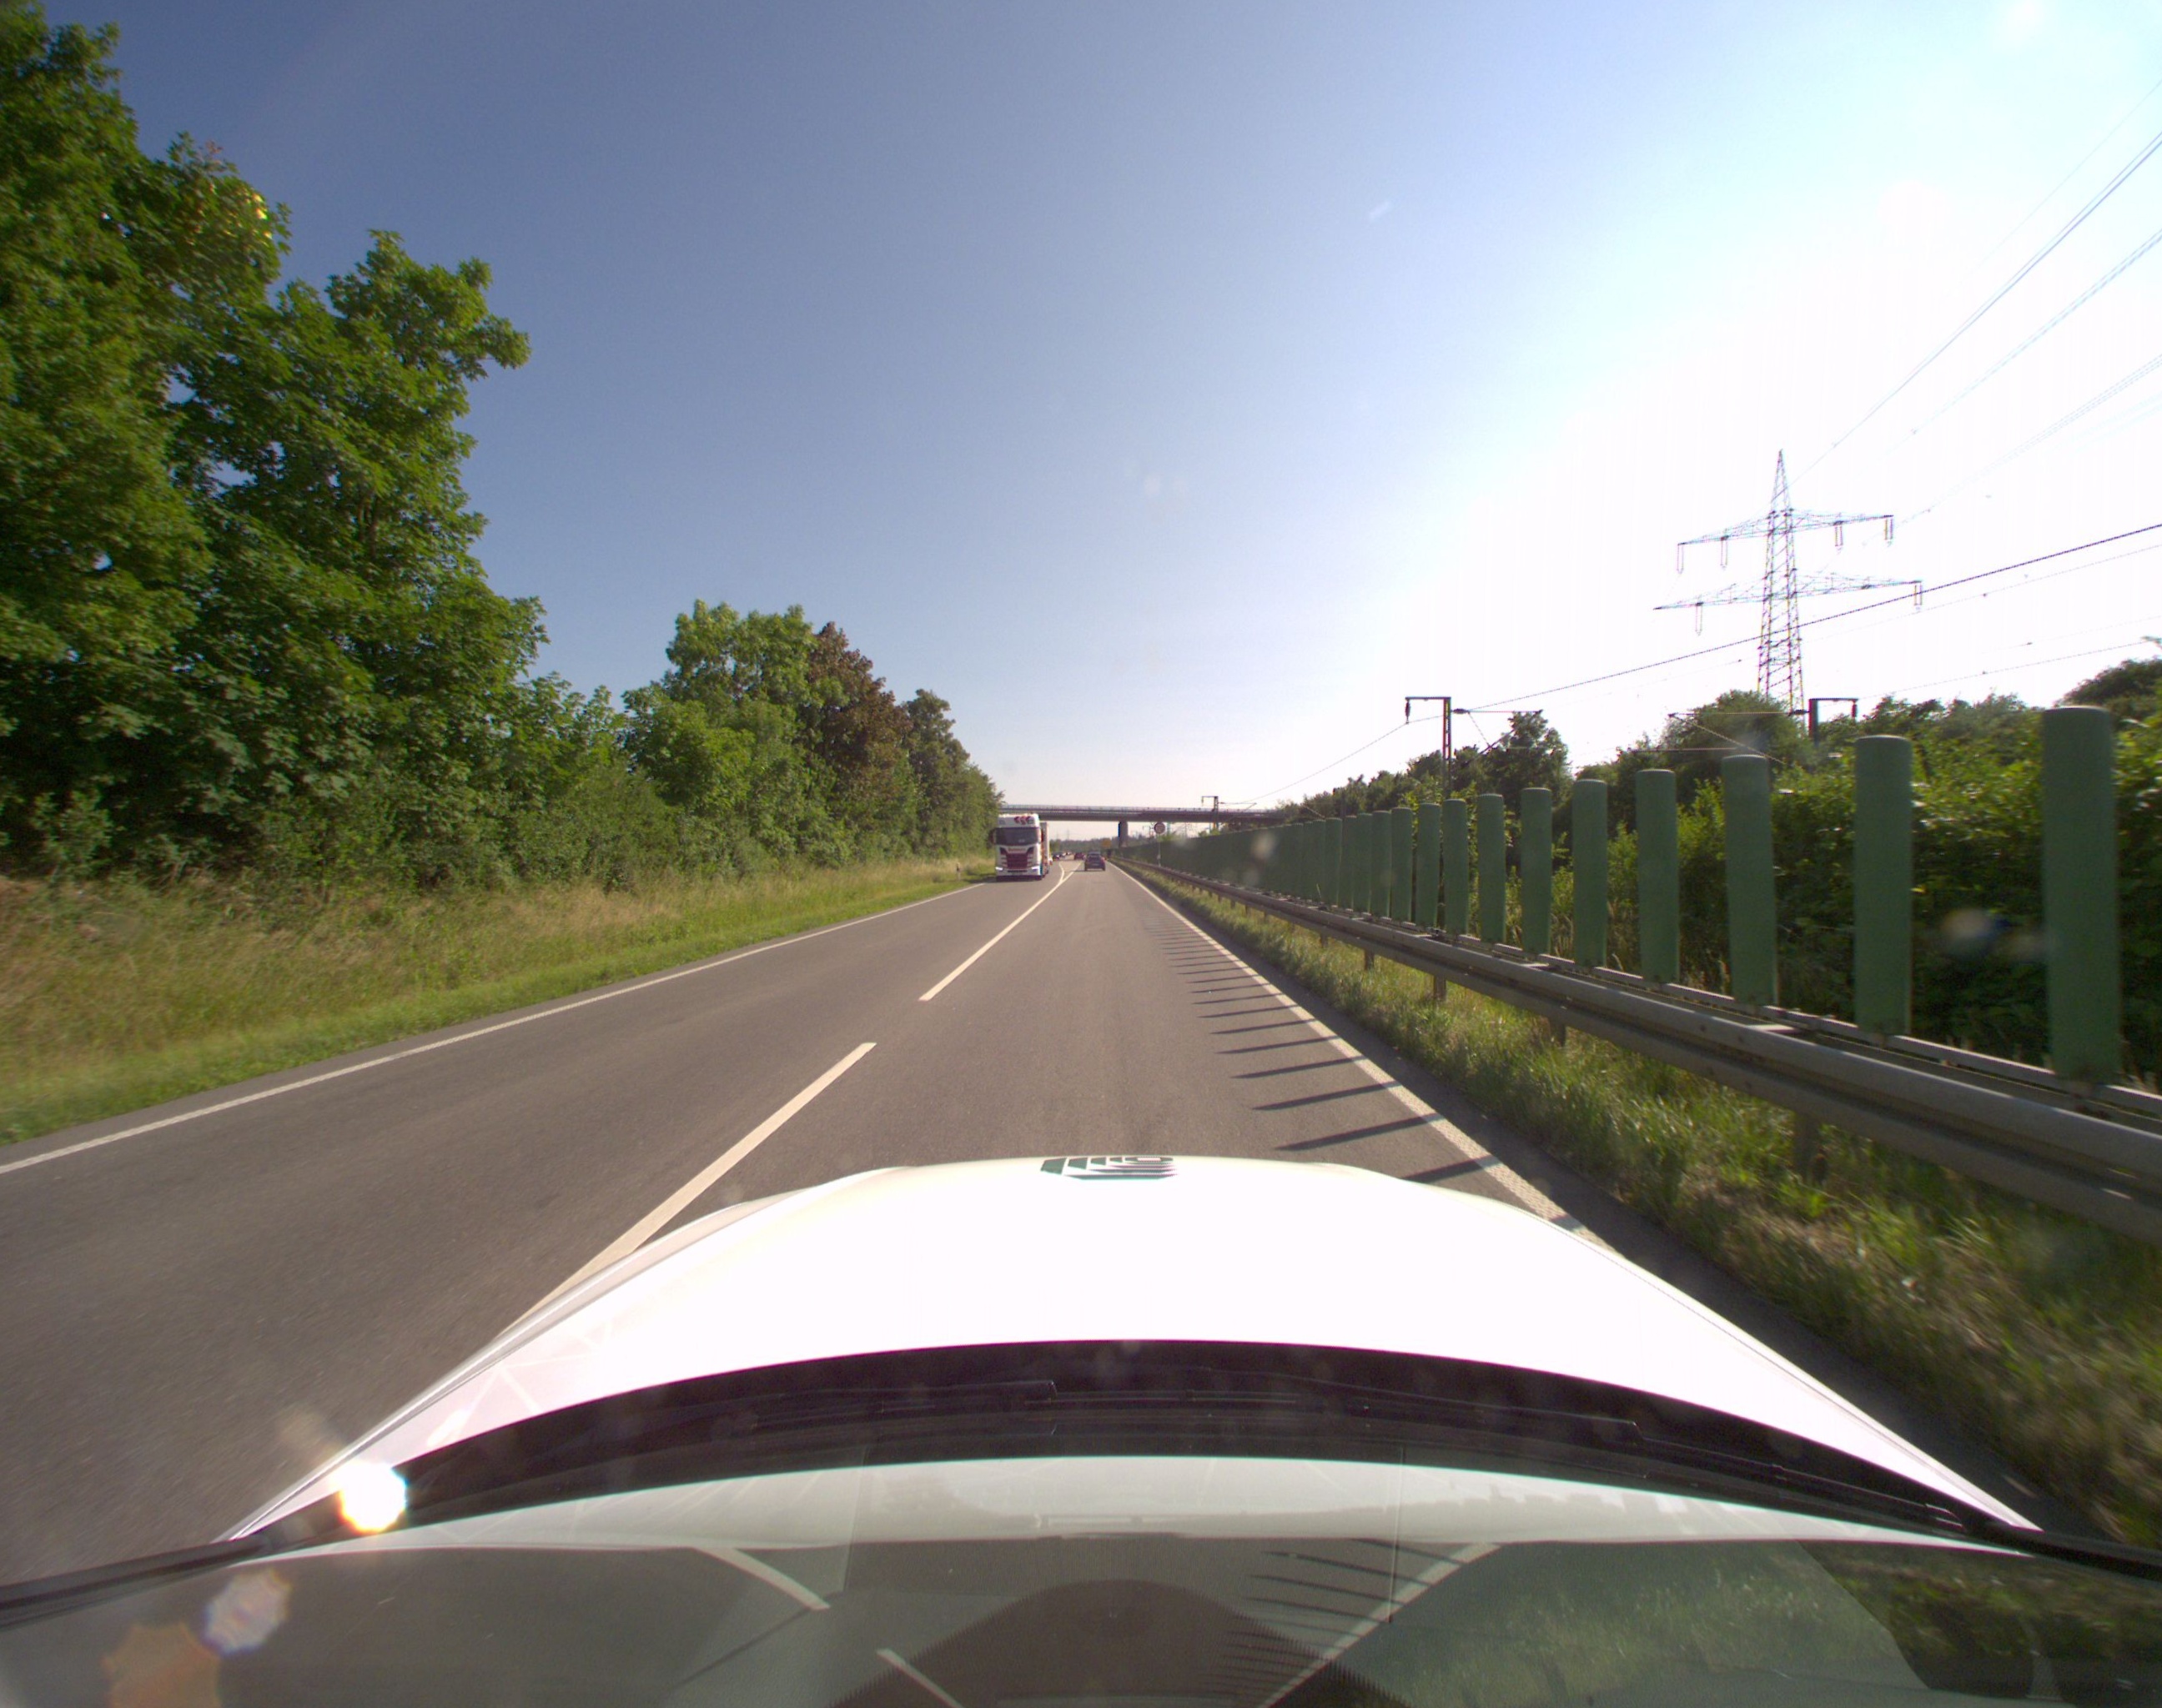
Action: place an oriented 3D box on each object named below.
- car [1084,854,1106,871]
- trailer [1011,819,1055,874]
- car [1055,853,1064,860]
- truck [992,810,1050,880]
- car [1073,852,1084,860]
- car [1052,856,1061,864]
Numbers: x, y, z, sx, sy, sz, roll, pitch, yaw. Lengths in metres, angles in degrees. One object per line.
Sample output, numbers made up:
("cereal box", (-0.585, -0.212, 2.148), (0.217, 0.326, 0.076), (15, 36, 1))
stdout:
("car", (1.106, 0.662, 64.622), (1.658, 1.261, 4.000), (-1, 0, 0))
("trailer", (-3.301, -0.499, 57.800), (2.551, 3.595, 8.292), (-1, 0, 0))
("car", (-5.094, 0.600, 192.868), (1.917, 1.593, 4.426), (0, 0, -2))
("truck", (-3.373, -0.499, 48.390), (2.551, 3.688, 10.487), (-1, 0, 1))
("car", (-0.458, 0.301, 145.630), (1.888, 1.418, 4.000), (-1, 0, 0))
("car", (-4.594, 1.046, 153.806), (1.745, 1.481, 3.998), (-1, 0, -1))
